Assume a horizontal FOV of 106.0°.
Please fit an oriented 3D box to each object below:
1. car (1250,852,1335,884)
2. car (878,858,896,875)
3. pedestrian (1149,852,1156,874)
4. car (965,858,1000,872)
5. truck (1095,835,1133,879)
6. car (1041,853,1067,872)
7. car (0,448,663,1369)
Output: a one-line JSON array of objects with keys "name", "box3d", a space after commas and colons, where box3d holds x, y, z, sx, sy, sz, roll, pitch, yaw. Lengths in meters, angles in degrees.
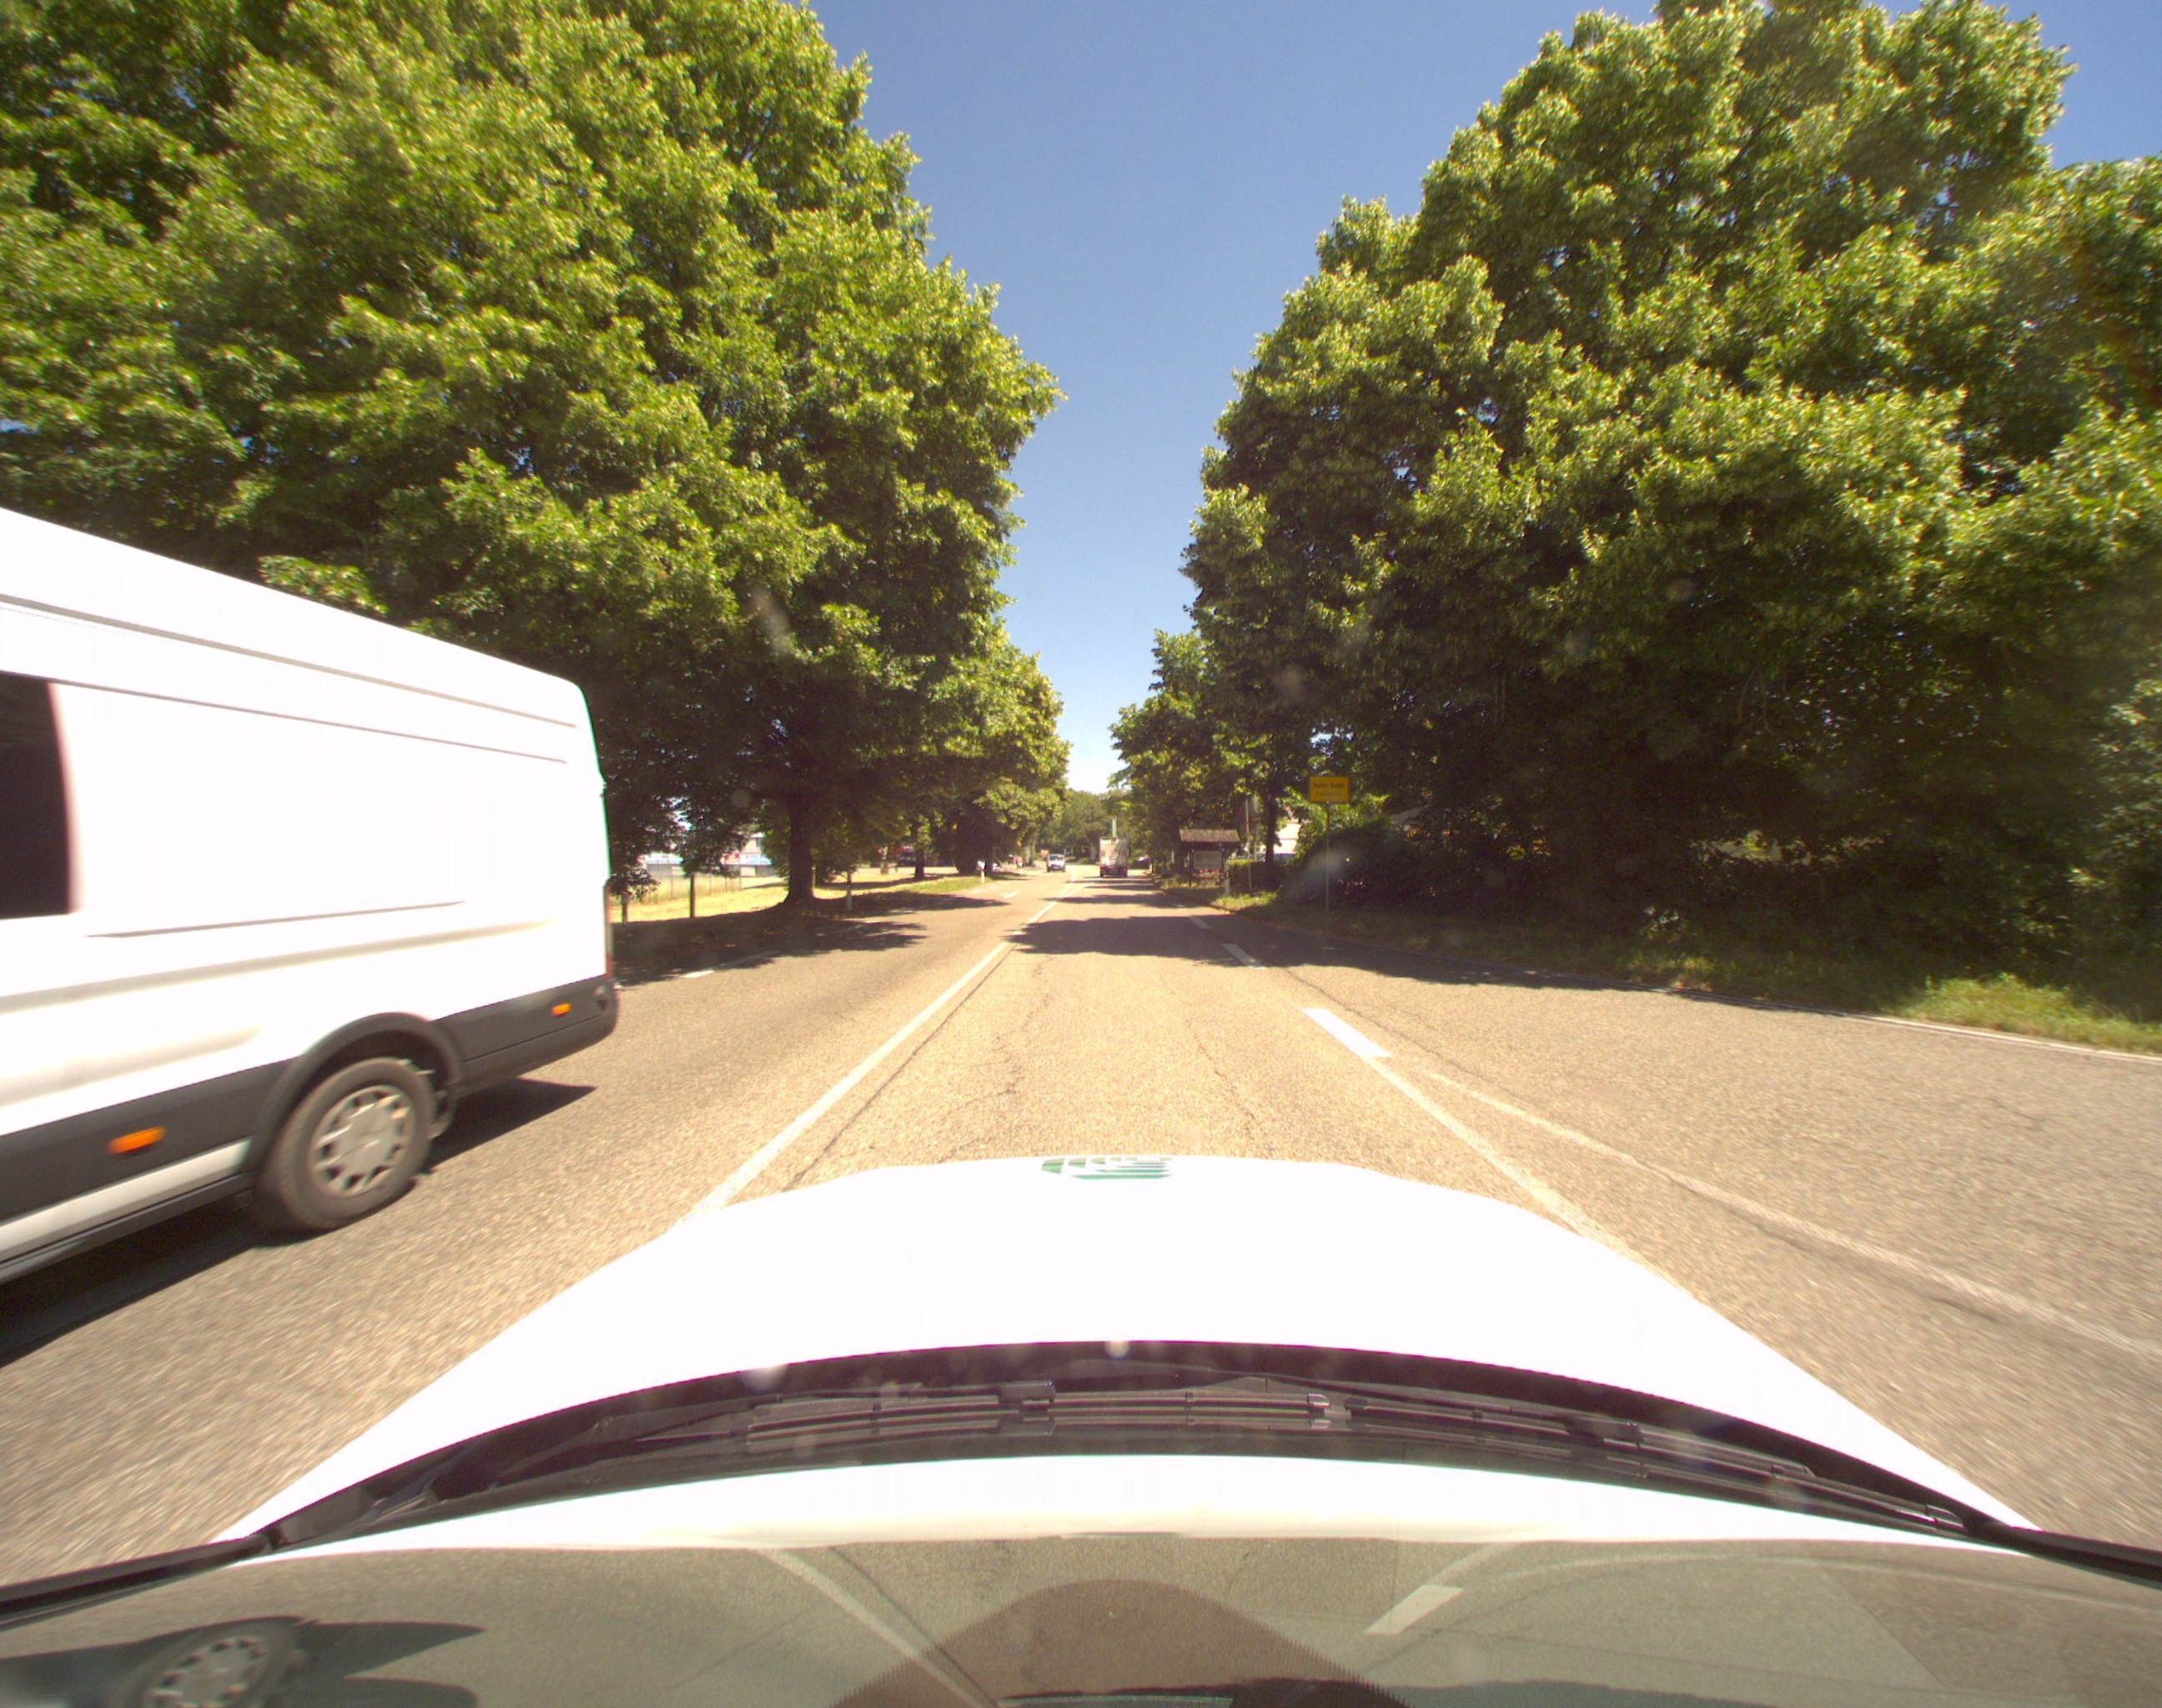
[{"name": "car", "box3d": [10.810, 0.703, 41.793, 3.920, 1.564, 1.798, 0, 0, 1]}, {"name": "car", "box3d": [-19.081, 1.214, 80.168, 1.738, 1.585, 3.982, -1, 0, -13]}, {"name": "pedestrian", "box3d": [5.840, 0.712, 66.404, 0.545, 1.776, 0.578, -1, -1, 6]}, {"name": "car", "box3d": [-9.806, 1.065, 80.994, 3.390, 1.362, 1.343, -1, -1, 30]}, {"name": "truck", "box3d": [2.547, 0.211, 61.102, 2.521, 3.135, 5.370, -1, 0, 6]}, {"name": "car", "box3d": [-2.826, 0.881, 84.539, 1.994, 1.857, 5.297, -1, 0, -10]}, {"name": "car", "box3d": [-4.114, 0.162, 2.365, 2.065, 2.627, 6.787, -1, 0, 2]}]
